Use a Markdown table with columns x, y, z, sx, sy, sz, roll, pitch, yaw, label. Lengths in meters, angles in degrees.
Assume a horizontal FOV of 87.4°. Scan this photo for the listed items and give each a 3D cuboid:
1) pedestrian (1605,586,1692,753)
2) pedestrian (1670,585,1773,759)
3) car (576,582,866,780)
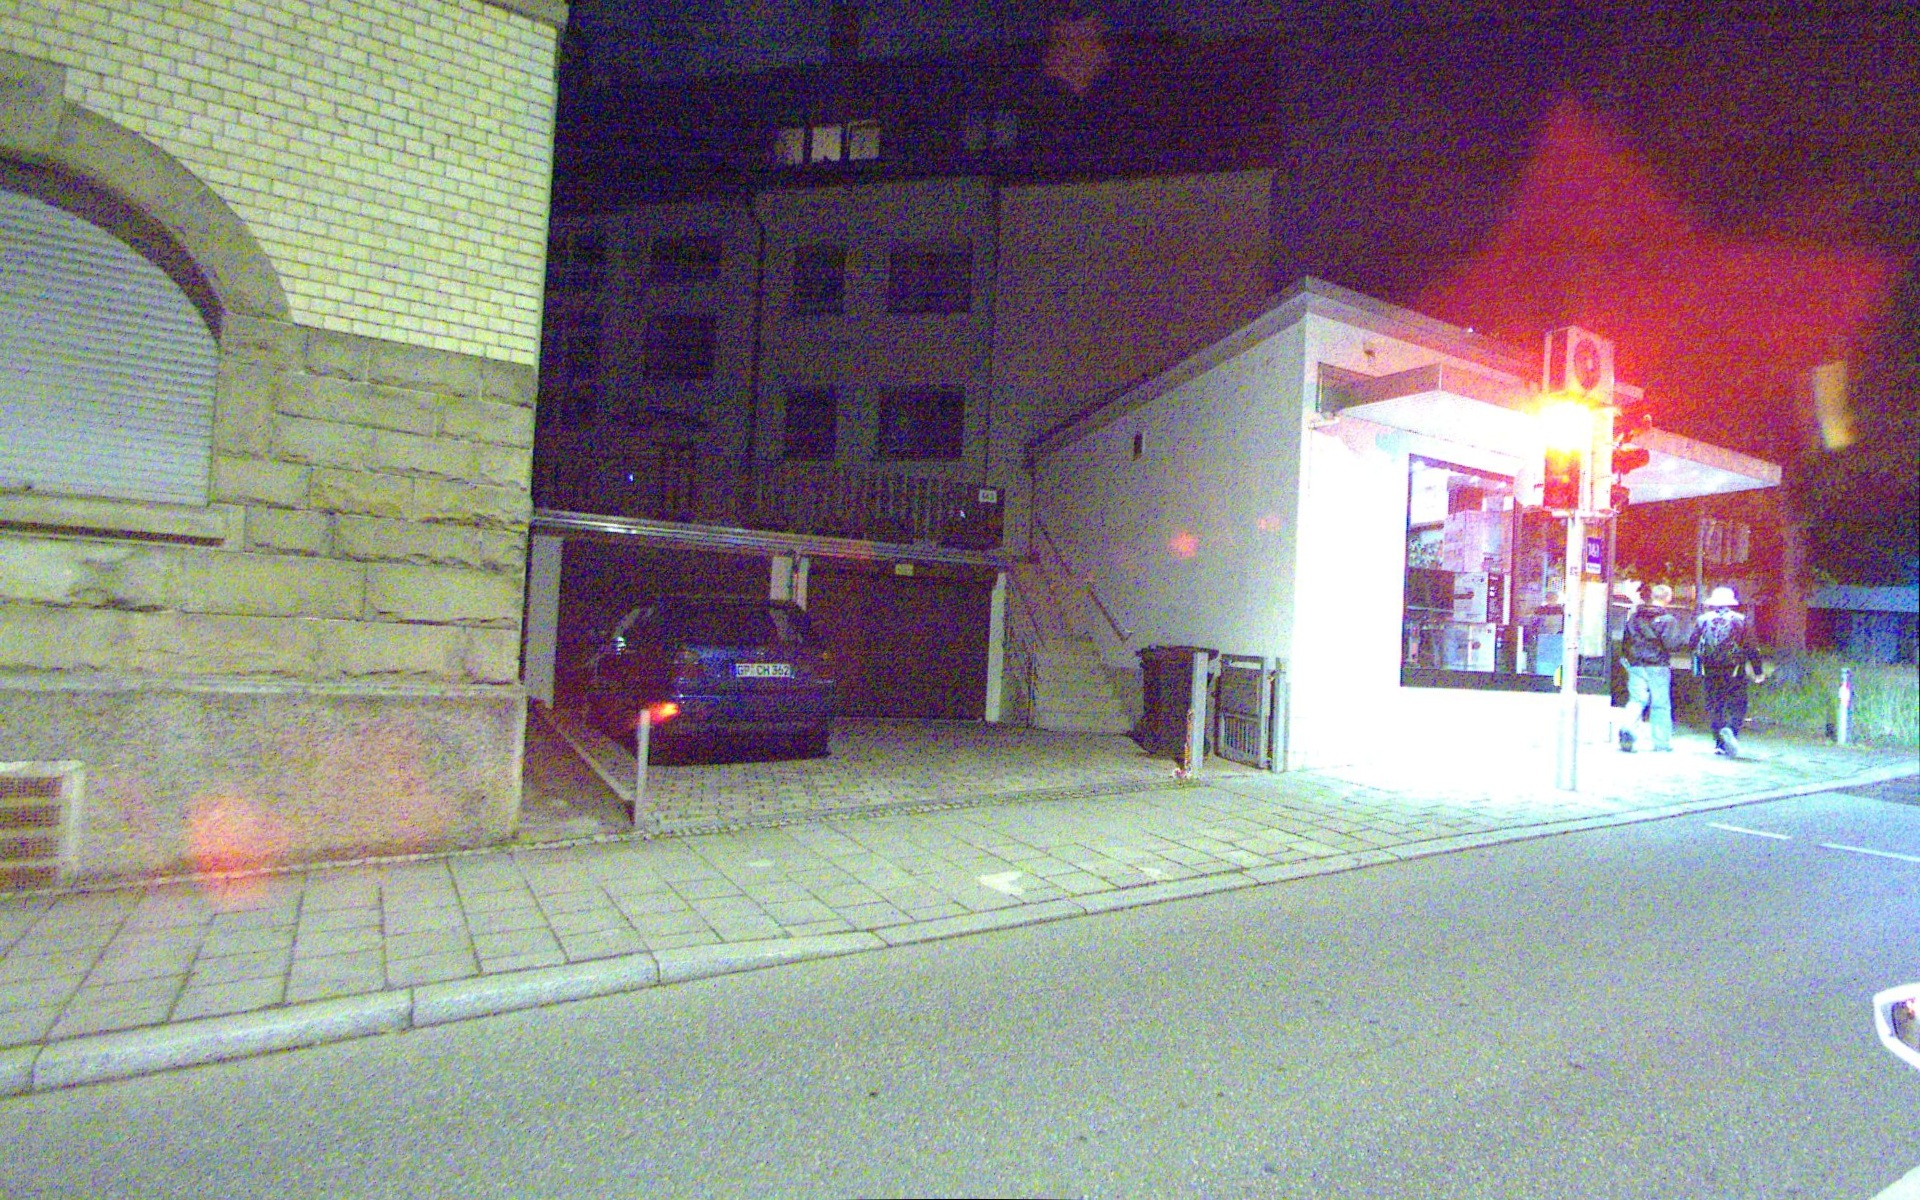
| x | y | z | sx | sy | sz | roll | pitch | yaw | label |
| --- | --- | --- | --- | --- | --- | --- | --- | --- | --- |
| 7.473 | 0.735 | 10.906 | 0.537 | 1.754 | 0.567 | 2 | 0 | -30 | pedestrian |
| 8.251 | 0.755 | 10.886 | 0.729 | 1.801 | 0.567 | 2 | 2 | -30 | pedestrian |
| -2.442 | 0.607 | 9.569 | 1.700 | 1.460 | 3.631 | 2 | 0 | -30 | car |
